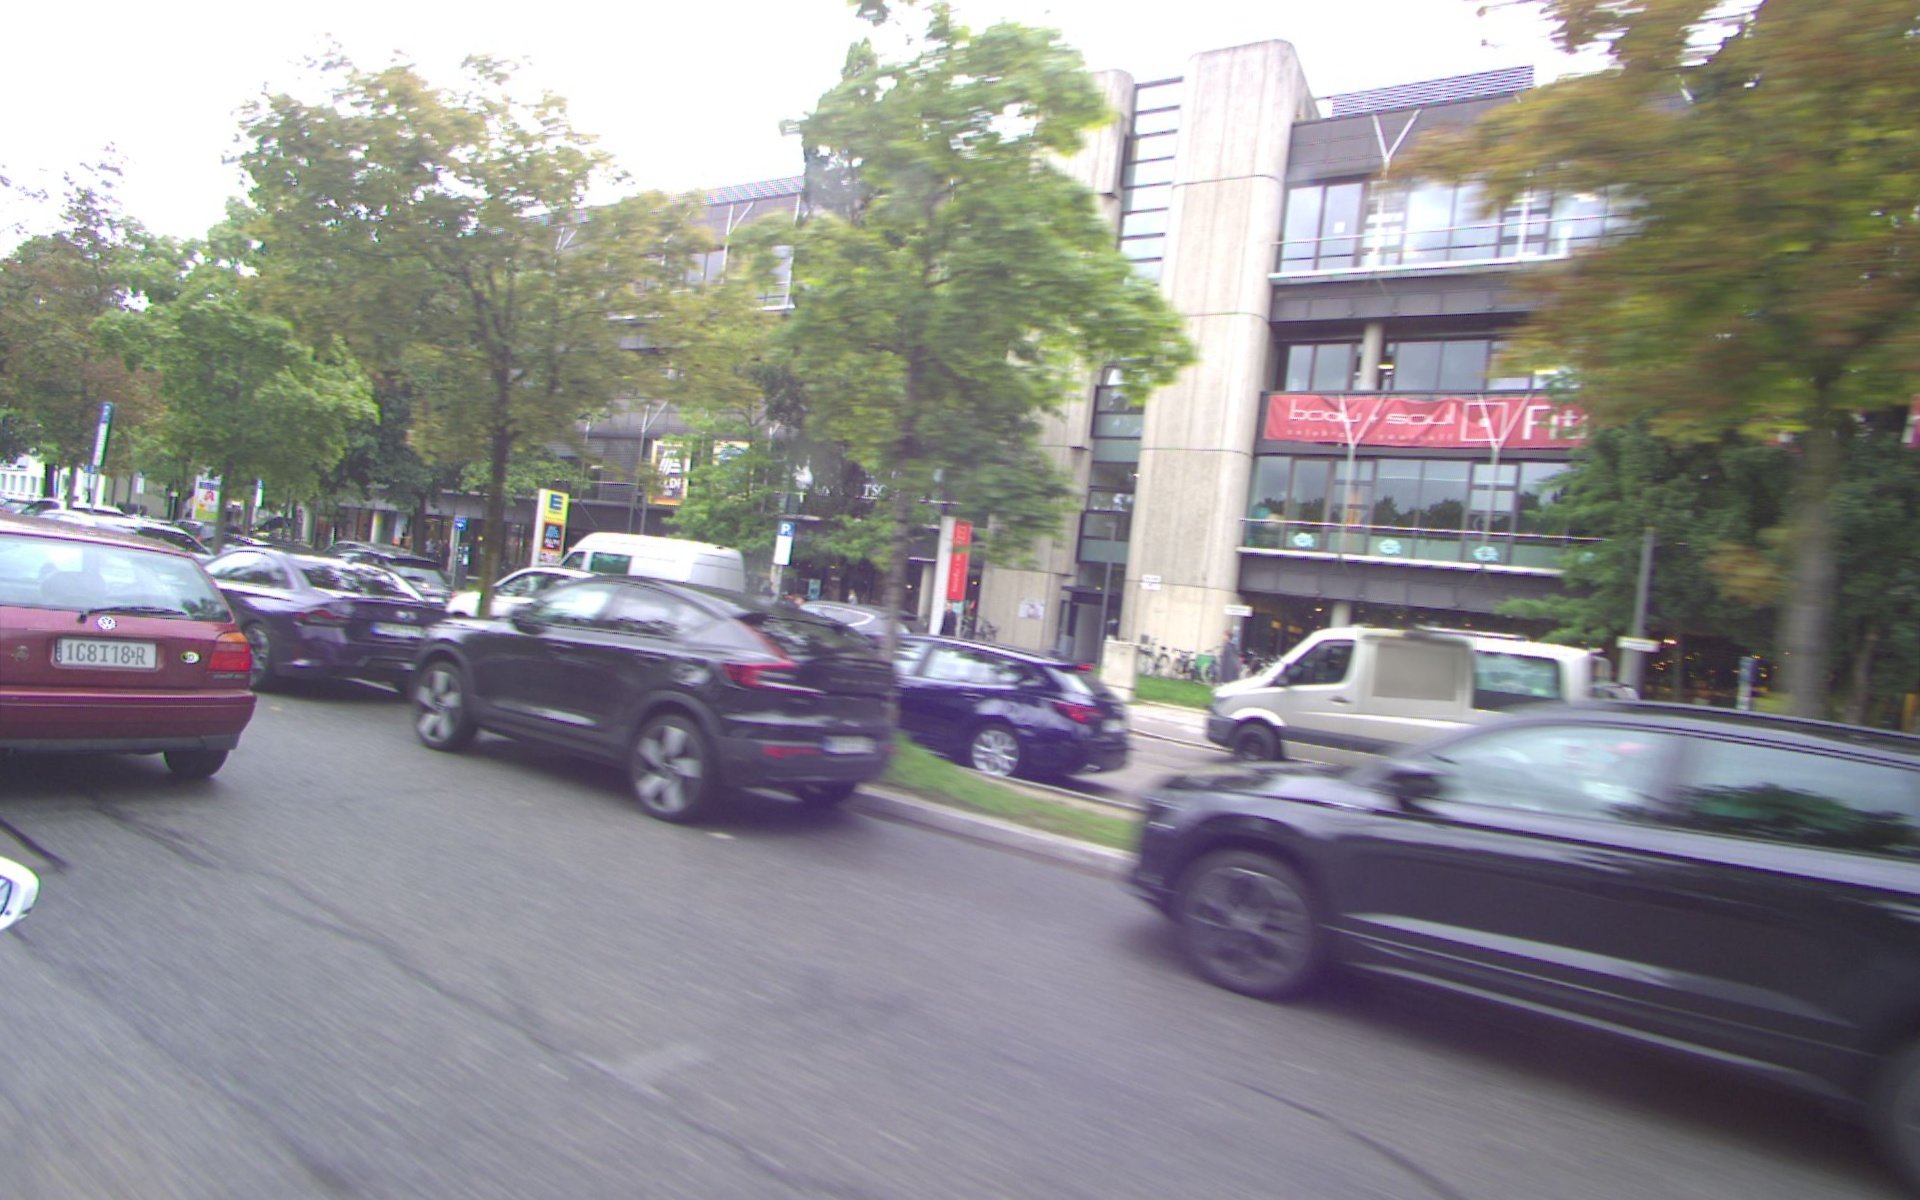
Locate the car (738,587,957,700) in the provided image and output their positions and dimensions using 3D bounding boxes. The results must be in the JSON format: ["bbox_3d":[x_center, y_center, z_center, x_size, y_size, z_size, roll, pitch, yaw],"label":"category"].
[{"bbox_3d":[-2.266,0.845,20.044,3.942,1.684,1.750,7,0,31],"label":"car"}]

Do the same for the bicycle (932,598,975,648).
[{"bbox_3d":[-0.193,0.777,33.351,0.783,1.526,2.620,7,0,10],"label":"bicycle"}]

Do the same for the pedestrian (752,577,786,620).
[{"bbox_3d":[-7.688,-0.075,40.490,0.955,1.599,0.689,7,0,33],"label":"pedestrian"}]

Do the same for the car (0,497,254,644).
[{"bbox_3d":[-11.861,-0.472,13.829,4.436,1.470,1.711,7,-3,31],"label":"car"}]

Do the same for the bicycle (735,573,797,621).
[{"bbox_3d":[-7.102,-0.086,37.007,0.784,1.526,2.617,7,0,23],"label":"bicycle"}]

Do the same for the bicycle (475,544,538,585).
[{"bbox_3d":[-20.747,-1.604,46.128,0.784,1.526,2.616,7,0,25],"label":"bicycle"}]

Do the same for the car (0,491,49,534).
[{"bbox_3d":[-41.730,-3.917,44.071,3.963,1.604,1.685,7,-1,34],"label":"car"}]

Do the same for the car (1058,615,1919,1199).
[{"bbox_3d":[2.844,1.193,4.673,4.319,1.671,1.723,7,0,35],"label":"car"}]

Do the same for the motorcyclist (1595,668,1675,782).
[{"bbox_3d":[11.605,2.124,17.327,0.937,1.762,0.690,7,5,32],"label":"motorcyclist"}]

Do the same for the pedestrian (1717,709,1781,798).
[{"bbox_3d":[13.036,2.515,16.634,0.687,1.308,0.731,6,2,36],"label":"pedestrian"}]

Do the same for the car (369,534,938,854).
[{"bbox_3d":[-2.554,0.571,8.024,4.350,1.671,1.767,7,-1,32],"label":"car"}]

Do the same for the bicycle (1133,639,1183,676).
[{"bbox_3d":[5.934,1.728,30.058,0.734,0.969,2.044,7,-1,31],"label":"bicycle"}]

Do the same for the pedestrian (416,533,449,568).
[{"bbox_3d":[-28.830,-2.704,55.009,1.029,1.724,1.018,7,-1,32],"label":"pedestrian"}]

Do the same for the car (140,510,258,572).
[{"bbox_3d":[-26.877,-2.099,35.492,4.309,1.652,1.687,7,0,30],"label":"car"}]

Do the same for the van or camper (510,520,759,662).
[{"bbox_3d":[-7.657,-0.264,23.402,5.858,2.589,2.026,7,0,32],"label":"van or camper"}]

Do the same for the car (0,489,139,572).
[{"bbox_3d":[-23.384,-1.834,26.104,4.701,1.652,1.686,7,0,32],"label":"car"}]

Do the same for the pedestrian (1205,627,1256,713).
[{"bbox_3d":[5.863,1.521,21.812,0.720,1.773,0.575,7,0,36],"label":"pedestrian"}]

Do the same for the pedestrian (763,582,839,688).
[{"bbox_3d":[-3.018,0.678,19.124,0.888,1.874,0.876,7,1,31],"label":"pedestrian"}]

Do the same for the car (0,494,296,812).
[{"bbox_3d":[-5.887,0.091,5.998,3.884,1.471,1.624,7,-1,31],"label":"car"}]

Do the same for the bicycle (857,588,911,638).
[{"bbox_3d":[-2.627,0.483,35.134,0.783,1.526,2.619,7,0,18],"label":"bicycle"}]

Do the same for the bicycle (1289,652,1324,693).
[{"bbox_3d":[11.208,2.358,32.510,0.577,1.219,2.141,7,-1,30],"label":"bicycle"}]

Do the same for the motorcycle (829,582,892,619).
[{"bbox_3d":[-3.995,0.017,40.280,2.329,1.211,0.947,7,0,32],"label":"motorcycle"}]

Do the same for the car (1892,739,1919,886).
[{"bbox_3d":[13.014,2.706,10.804,3.934,1.671,1.996,7,0,32],"label":"car"}]

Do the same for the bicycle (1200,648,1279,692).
[{"bbox_3d":[7.905,1.986,28.474,2.020,0.969,0.743,8,0,-21],"label":"bicycle"}]

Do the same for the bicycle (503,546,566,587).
[{"bbox_3d":[-19.137,-1.468,45.329,0.784,1.526,2.616,7,0,25],"label":"bicycle"}]

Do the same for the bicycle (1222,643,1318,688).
[{"bbox_3d":[8.419,1.776,27.329,2.366,0.880,0.769,8,0,-15],"label":"bicycle"}]

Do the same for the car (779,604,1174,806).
[{"bbox_3d":[0.134,1.066,11.237,3.941,1.497,1.751,7,-1,31],"label":"car"}]

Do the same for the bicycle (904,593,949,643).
[{"bbox_3d":[-1.099,0.631,33.512,0.783,1.526,2.620,7,0,10],"label":"bicycle"}]

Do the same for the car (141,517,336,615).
[{"bbox_3d":[-15.039,-0.736,20.875,4.658,1.471,1.686,7,-1,34],"label":"car"}]

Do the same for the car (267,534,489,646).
[{"bbox_3d":[-10.378,-0.188,17.873,3.943,1.471,1.686,7,-1,32],"label":"car"}]

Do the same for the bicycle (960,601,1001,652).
[{"bbox_3d":[0.693,0.880,33.029,0.783,1.526,2.620,7,0,10],"label":"bicycle"}]

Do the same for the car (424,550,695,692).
[{"bbox_3d":[-6.084,0.288,15.161,3.943,1.604,1.686,7,0,32],"label":"car"}]

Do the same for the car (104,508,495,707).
[{"bbox_3d":[-7.243,0.040,10.914,4.350,1.564,1.767,7,-1,32],"label":"car"}]

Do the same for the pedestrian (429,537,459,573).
[{"bbox_3d":[-27.894,-2.424,54.365,0.785,1.724,0.964,7,-1,32],"label":"pedestrian"}]

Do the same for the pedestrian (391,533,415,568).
[{"bbox_3d":[-29.646,-2.655,53.584,0.686,1.724,0.682,7,-1,32],"label":"pedestrian"}]

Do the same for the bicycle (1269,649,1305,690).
[{"bbox_3d":[10.688,2.294,32.825,0.577,1.219,2.141,7,-1,30],"label":"bicycle"}]

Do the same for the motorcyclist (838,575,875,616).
[{"bbox_3d":[-4.150,-0.191,40.385,0.968,1.495,0.943,7,1,31],"label":"motorcyclist"}]

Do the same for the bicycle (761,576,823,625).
[{"bbox_3d":[-6.072,0.043,36.535,0.784,1.526,2.617,7,0,23],"label":"bicycle"}]

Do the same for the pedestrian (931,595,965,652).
[{"bbox_3d":[-0.330,0.648,27.920,0.668,1.495,0.396,7,1,39],"label":"pedestrian"}]

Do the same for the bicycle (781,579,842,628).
[{"bbox_3d":[-5.300,0.137,36.166,0.784,1.526,2.617,7,0,23],"label":"bicycle"}]

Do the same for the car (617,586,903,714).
[{"bbox_3d":[-3.457,0.797,17.003,4.758,1.471,1.686,7,-1,32],"label":"car"}]

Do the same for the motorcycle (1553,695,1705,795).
[{"bbox_3d":[11.519,2.470,17.408,2.032,1.309,0.695,7,4,32],"label":"motorcycle"}]

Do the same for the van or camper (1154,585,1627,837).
[{"bbox_3d":[6.137,1.424,14.840,5.858,2.589,1.996,7,0,32],"label":"van or camper"}]

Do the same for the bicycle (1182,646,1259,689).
[{"bbox_3d":[7.567,1.964,29.224,2.020,0.969,0.743,8,0,-21],"label":"bicycle"}]

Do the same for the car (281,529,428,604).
[{"bbox_3d":[-17.882,-1.007,29.647,4.422,1.652,1.687,7,0,30],"label":"car"}]
